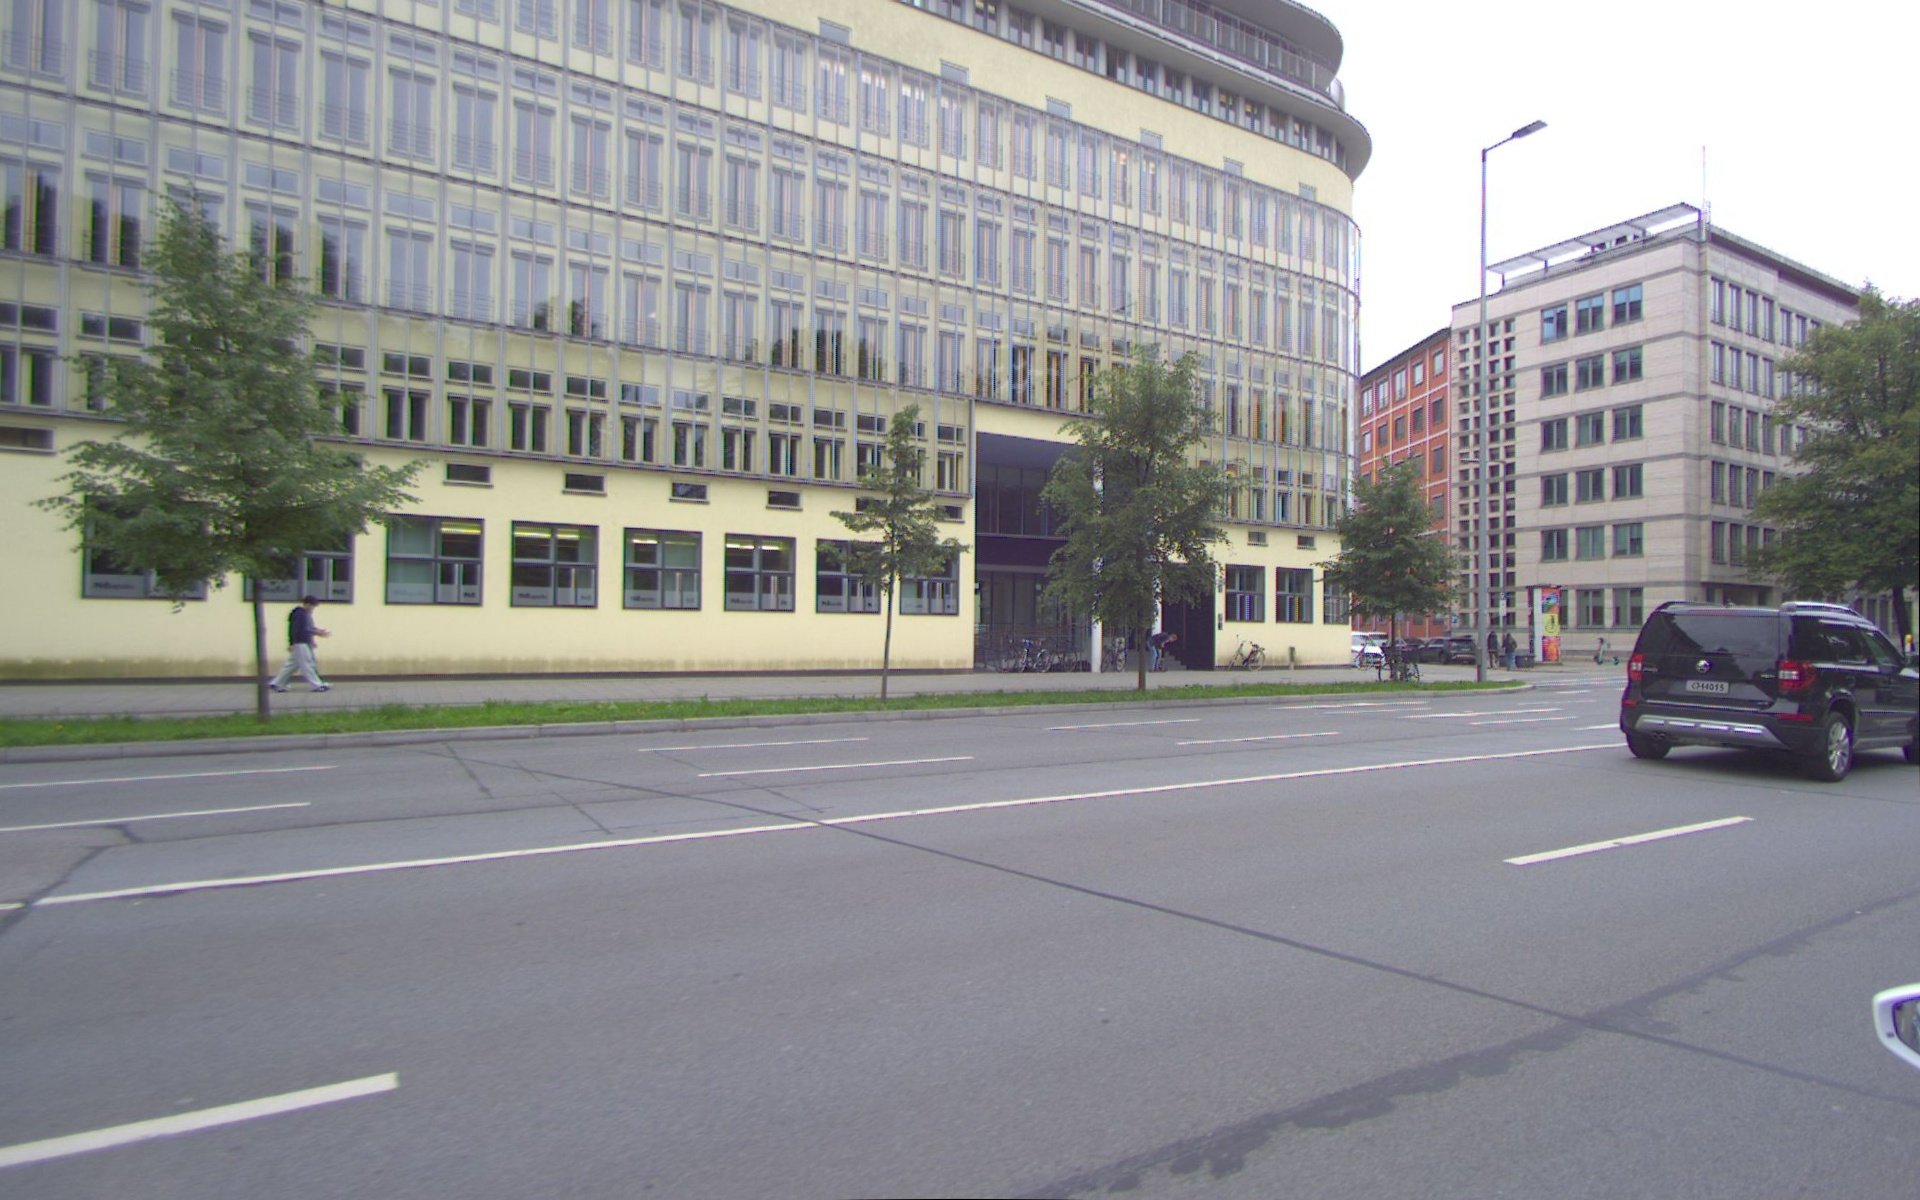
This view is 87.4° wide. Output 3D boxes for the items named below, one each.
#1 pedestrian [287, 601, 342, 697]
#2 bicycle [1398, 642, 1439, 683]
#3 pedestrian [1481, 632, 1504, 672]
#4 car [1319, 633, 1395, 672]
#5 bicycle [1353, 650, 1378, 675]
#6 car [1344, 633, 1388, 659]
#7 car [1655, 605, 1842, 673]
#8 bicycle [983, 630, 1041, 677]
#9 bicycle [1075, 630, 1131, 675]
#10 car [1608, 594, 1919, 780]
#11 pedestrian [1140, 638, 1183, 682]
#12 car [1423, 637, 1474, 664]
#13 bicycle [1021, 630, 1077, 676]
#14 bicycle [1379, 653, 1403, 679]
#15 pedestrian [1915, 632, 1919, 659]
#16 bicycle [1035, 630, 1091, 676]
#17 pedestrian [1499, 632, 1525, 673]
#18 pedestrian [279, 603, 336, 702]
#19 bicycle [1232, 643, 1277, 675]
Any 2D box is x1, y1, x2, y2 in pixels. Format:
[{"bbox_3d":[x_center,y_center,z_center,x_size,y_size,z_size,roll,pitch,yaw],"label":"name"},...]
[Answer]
[{"bbox_3d":[-12.405,0.932,19.324,0.826,1.800,0.613,1,0,-30],"label":"pedestrian"},{"bbox_3d":[11.767,1.587,25.776,1.370,1.026,0.279,1,0,-34],"label":"bicycle"},{"bbox_3d":[24.338,2.386,45.915,0.665,1.798,0.680,1,0,-26],"label":"pedestrian"},{"bbox_3d":[18.744,2.444,47.682,1.833,1.773,4.329,0,-2,-1],"label":"car"},{"bbox_3d":[15.645,2.398,38.779,0.574,0.889,1.738,0,-2,12],"label":"bicycle"},{"bbox_3d":[26.462,2.990,65.552,1.460,1.686,3.183,0,-2,-2],"label":"car"},{"bbox_3d":[32.011,1.573,41.003,2.134,2.570,5.648,1,-2,-33],"label":"car"},{"bbox_3d":[1.551,1.587,30.312,0.632,1.336,1.995,1,0,-34],"label":"bicycle"},{"bbox_3d":[4.594,1.679,32.410,0.569,1.336,1.995,1,0,-34],"label":"bicycle"},{"bbox_3d":[8.966,0.847,10.790,4.156,1.658,1.714,2,-2,-31],"label":"car"},{"bbox_3d":[6.506,1.912,32.418,1.073,1.382,0.833,1,-2,-30],"label":"pedestrian"},{"bbox_3d":[26.860,2.772,55.305,1.441,1.393,3.241,0,-2,4],"label":"car"},{"bbox_3d":[2.737,1.620,31.143,0.569,1.336,1.995,1,0,-34],"label":"bicycle"},{"bbox_3d":[18.415,2.811,42.976,0.574,1.034,1.847,0,-2,12],"label":"bicycle"},{"bbox_3d":[61.607,2.924,64.210,0.755,1.755,0.576,1,0,-29],"label":"pedestrian"},{"bbox_3d":[3.221,1.650,31.488,0.569,1.336,1.995,1,0,-34],"label":"bicycle"},{"bbox_3d":[24.977,2.367,45.477,0.773,1.798,0.680,1,0,-26],"label":"pedestrian"},{"bbox_3d":[-12.114,0.959,18.670,0.826,1.800,0.613,1,0,-30],"label":"pedestrian"},{"bbox_3d":[9.994,1.982,34.069,1.577,1.026,0.569,1,0,-34],"label":"bicycle"}]
